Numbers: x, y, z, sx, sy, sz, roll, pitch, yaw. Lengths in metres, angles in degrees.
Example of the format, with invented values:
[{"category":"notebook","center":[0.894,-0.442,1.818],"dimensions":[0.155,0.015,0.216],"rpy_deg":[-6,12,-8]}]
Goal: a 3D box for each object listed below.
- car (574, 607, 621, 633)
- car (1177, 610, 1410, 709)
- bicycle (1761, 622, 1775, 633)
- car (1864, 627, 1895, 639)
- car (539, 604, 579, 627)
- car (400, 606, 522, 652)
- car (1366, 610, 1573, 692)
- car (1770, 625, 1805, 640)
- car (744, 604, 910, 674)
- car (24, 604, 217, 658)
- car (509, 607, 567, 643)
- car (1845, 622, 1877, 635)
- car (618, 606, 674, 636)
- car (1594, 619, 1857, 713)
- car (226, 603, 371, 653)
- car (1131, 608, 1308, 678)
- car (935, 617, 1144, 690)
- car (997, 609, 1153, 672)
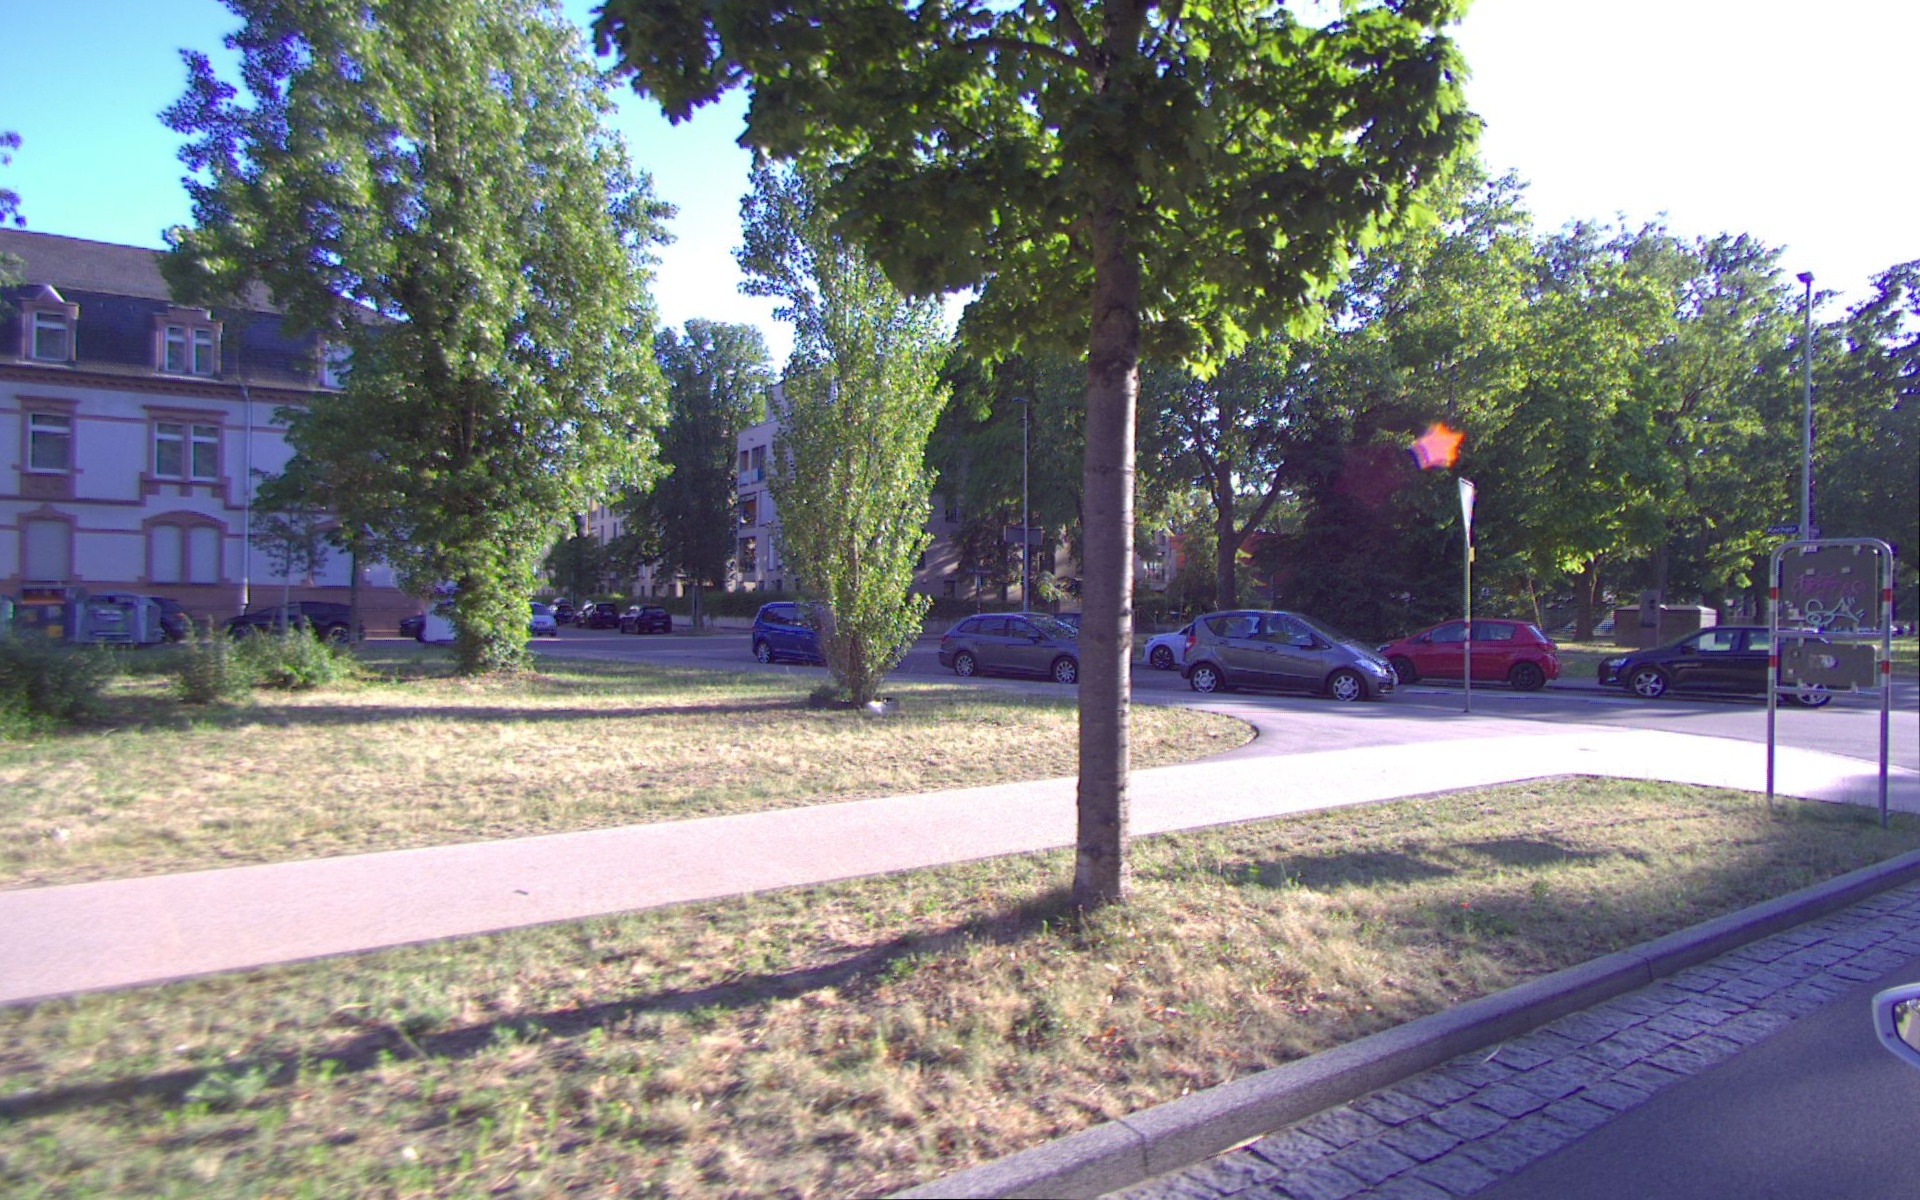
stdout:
[{"category":"car","center":[-23.343,1.288,64.668],"dimensions":[1.872,1.594,3.962],"rpy_deg":[3,-2,-34]},{"category":"car","center":[6.176,1.032,18.687],"dimensions":[3.781,1.653,1.835],"rpy_deg":[0,-1,33]},{"category":"bicycle","center":[90.091,3.031,111.999],"dimensions":[2.311,1.191,0.652],"rpy_deg":[2,-1,-37]},{"category":"car","center":[117.376,4.185,128.181],"dimensions":[4.071,1.528,1.982],"rpy_deg":[1,-1,-33]},{"category":"car","center":[-28.835,1.103,72.161],"dimensions":[1.871,1.594,3.964],"rpy_deg":[3,-2,-33]},{"category":"car","center":[-18.963,1.103,38.178],"dimensions":[3.957,1.594,1.874],"rpy_deg":[3,-2,-33]},{"category":"car","center":[11.290,1.091,22.317],"dimensions":[3.931,1.594,1.886],"rpy_deg":[1,-2,33]},{"category":"car","center":[91.999,3.619,111.674],"dimensions":[3.957,1.528,1.982],"rpy_deg":[1,-1,-33]},{"category":"car","center":[-3.477,0.959,25.920],"dimensions":[4.209,1.665,1.833],"rpy_deg":[0,-2,38]},{"category":"car","center":[-27.559,1.047,33.198],"dimensions":[4.545,1.594,1.876],"rpy_deg":[3,-2,-30]},{"category":"car","center":[-20.394,1.187,48.509],"dimensions":[1.871,1.594,3.964],"rpy_deg":[3,-2,-33]},{"category":"car","center":[110.171,3.514,122.824],"dimensions":[4.071,1.528,1.982],"rpy_deg":[1,-1,-33]},{"category":"car","center":[-17.675,1.158,56.405],"dimensions":[1.872,1.594,3.961],"rpy_deg":[3,-2,-35]},{"category":"car","center":[14.812,1.232,19.755],"dimensions":[3.931,1.594,1.886],"rpy_deg":[1,-2,33]},{"category":"car","center":[-23.120,0.988,35.295],"dimensions":[3.948,1.594,1.878],"rpy_deg":[3,-2,-26]},{"category":"car","center":[6.589,1.065,25.639],"dimensions":[3.936,1.594,1.884],"rpy_deg":[1,-2,37]},{"category":"car","center":[1.685,1.109,21.896],"dimensions":[4.206,1.419,1.834],"rpy_deg":[0,-1,35]},{"category":"car","center":[3.193,1.115,28.227],"dimensions":[3.936,1.594,1.884],"rpy_deg":[1,-2,37]}]
